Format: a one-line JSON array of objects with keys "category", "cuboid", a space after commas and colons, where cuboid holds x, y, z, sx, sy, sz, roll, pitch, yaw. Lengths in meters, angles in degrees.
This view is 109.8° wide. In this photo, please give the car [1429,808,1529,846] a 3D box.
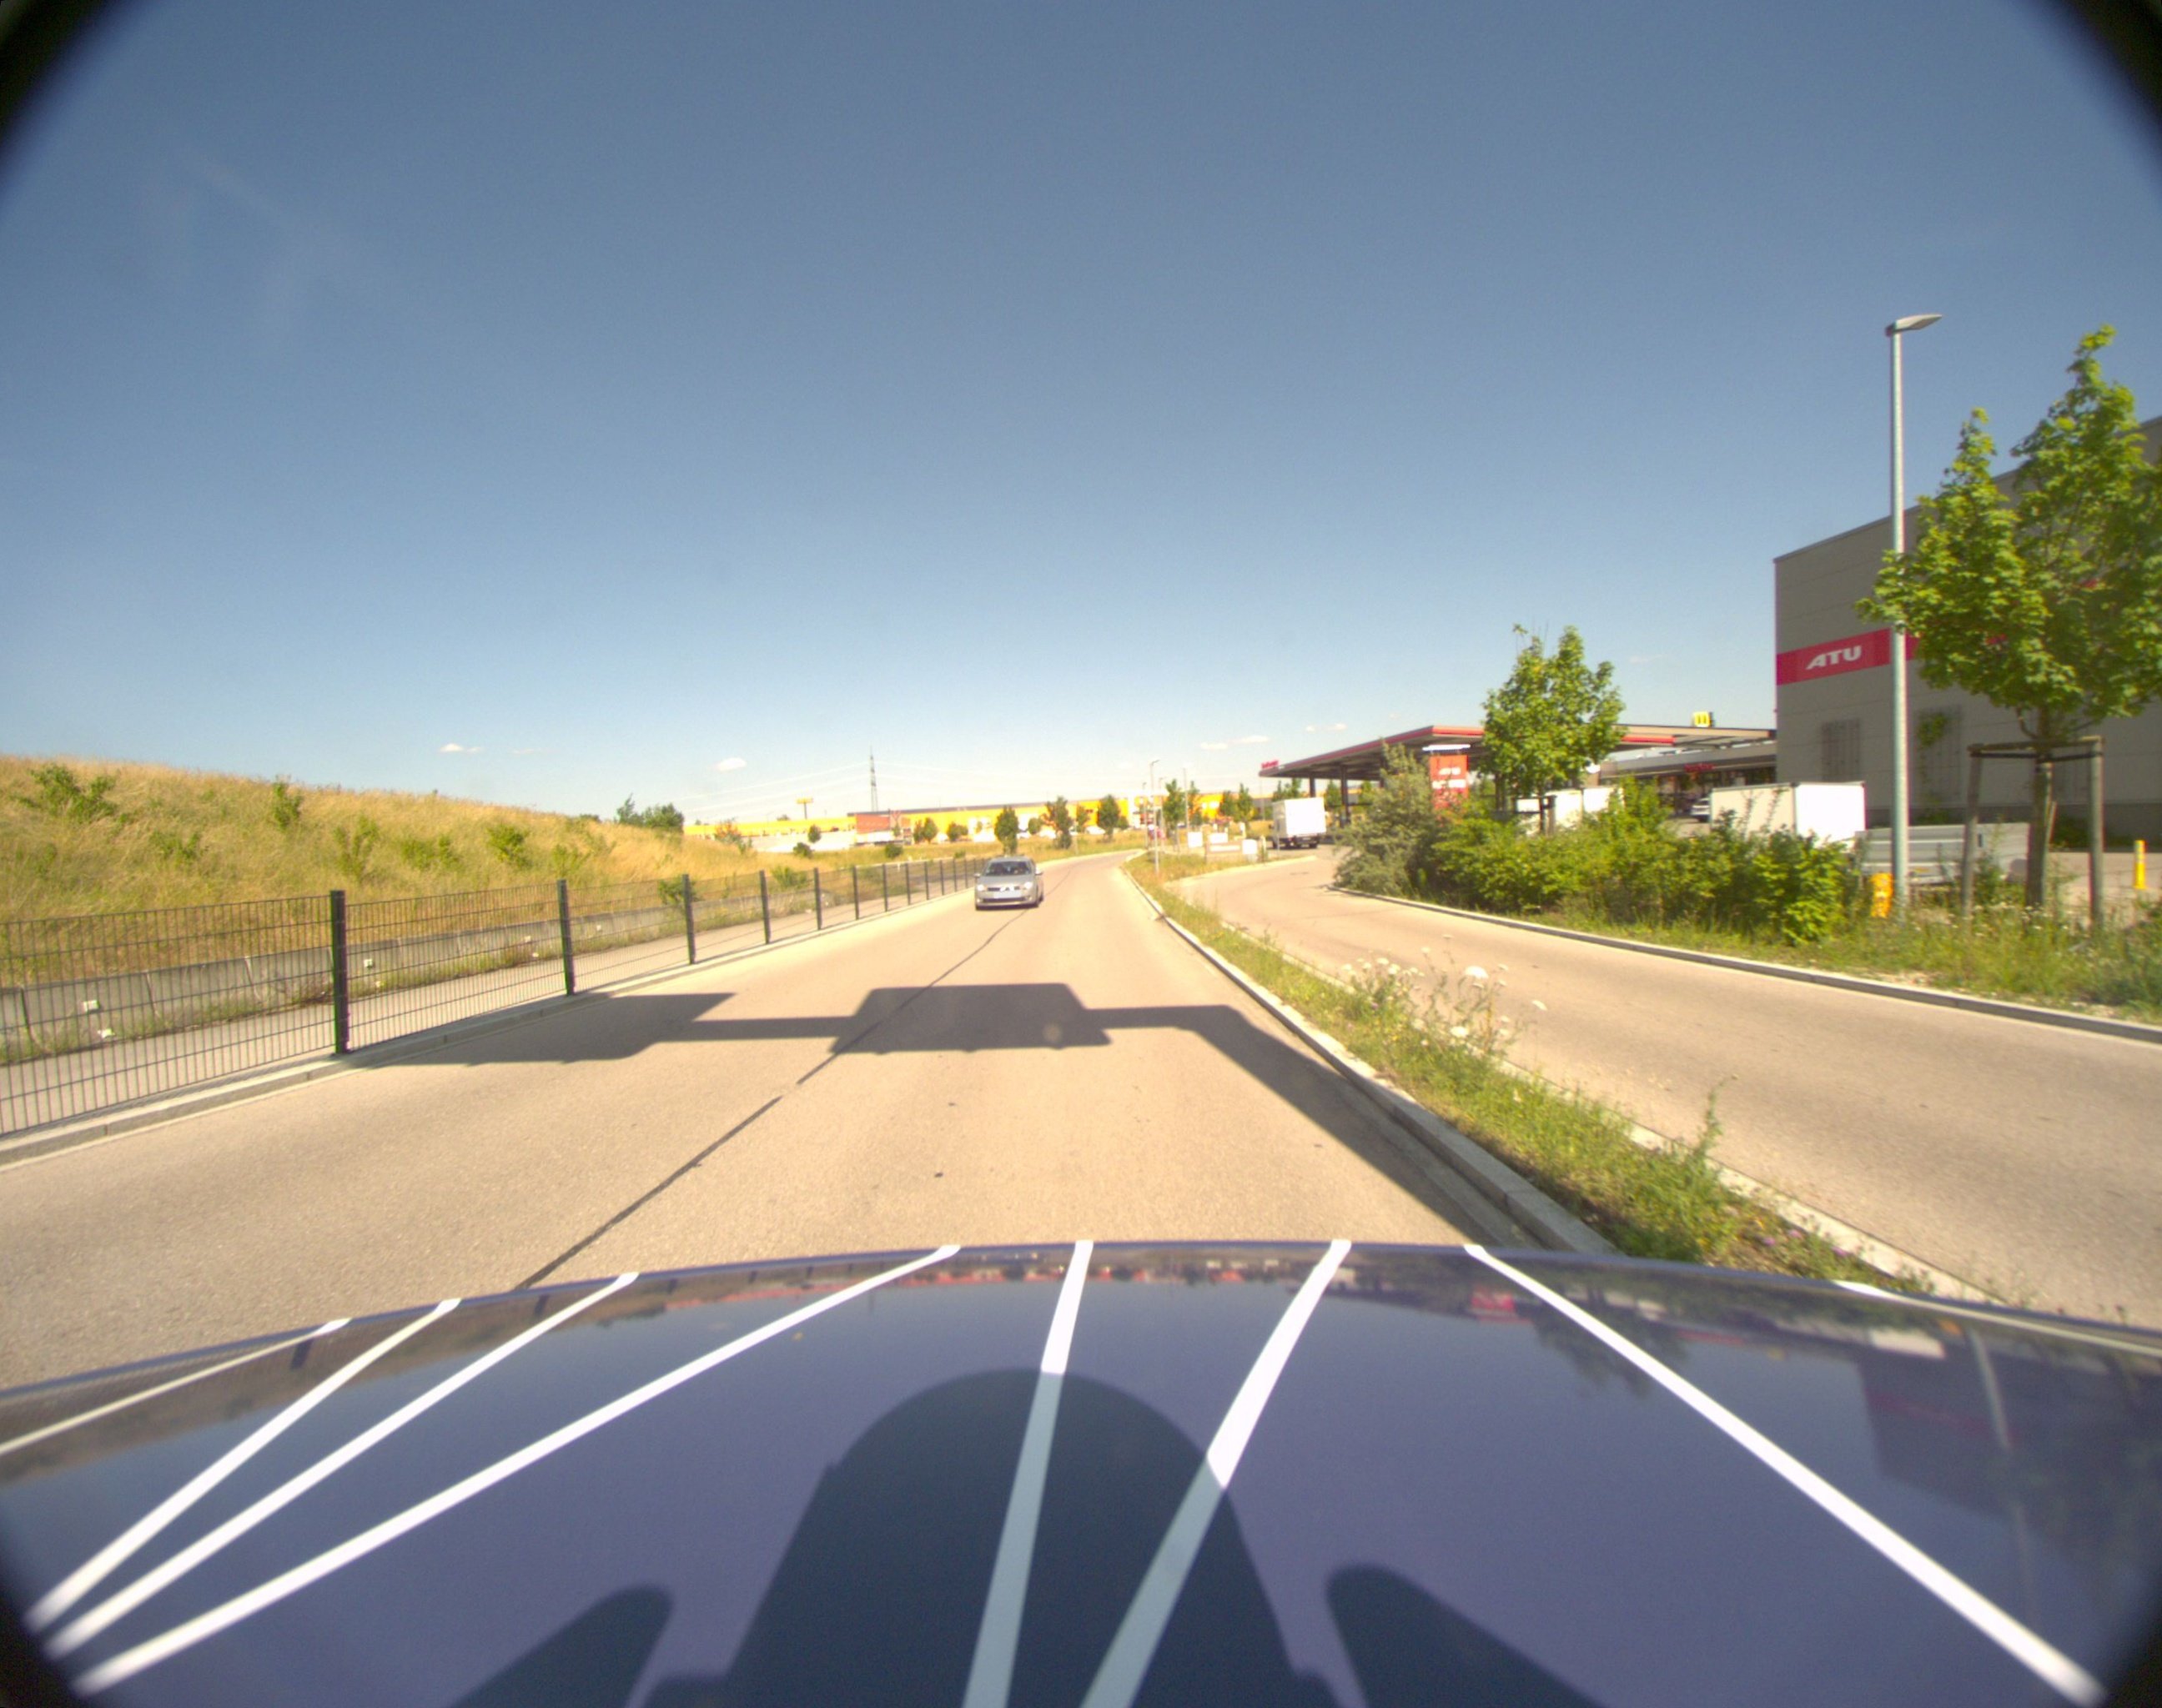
[{"category": "car", "cuboid": [21.743, -1.451, 41.615, 4.519, 1.748, 1.795, -4, 2, -4]}]

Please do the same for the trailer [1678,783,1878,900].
[{"category": "trailer", "cuboid": [13.680, -0.274, 14.951, 2.740, 2.002, 1.996, -4, 2, -26]}]

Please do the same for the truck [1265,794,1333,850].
[{"category": "truck", "cuboid": [14.394, -2.096, 50.605, 2.639, 3.299, 6.905, -4, 1, 3]}]

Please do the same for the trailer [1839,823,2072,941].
[{"category": "trailer", "cuboid": [14.260, 0.387, 12.377, 3.604, 1.502, 1.597, -4, 1, -26]}]

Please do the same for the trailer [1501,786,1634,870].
[{"category": "trailer", "cuboid": [13.017, -0.699, 20.299, 3.211, 2.002, 1.995, -5, 2, -38]}]

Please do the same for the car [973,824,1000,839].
[{"category": "car", "cuboid": [-17.297, -4.143, 139.840, 4.634, 2.534, 1.999, -4, 2, -4]}]

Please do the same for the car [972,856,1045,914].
[{"category": "car", "cuboid": [-2.045, 0.853, 22.554, 1.746, 1.460, 3.959, -1, 1, 0]}]

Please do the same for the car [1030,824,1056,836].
[{"category": "car", "cuboid": [-7.055, -4.441, 140.044, 4.634, 2.002, 1.999, -4, 2, -4]}]
